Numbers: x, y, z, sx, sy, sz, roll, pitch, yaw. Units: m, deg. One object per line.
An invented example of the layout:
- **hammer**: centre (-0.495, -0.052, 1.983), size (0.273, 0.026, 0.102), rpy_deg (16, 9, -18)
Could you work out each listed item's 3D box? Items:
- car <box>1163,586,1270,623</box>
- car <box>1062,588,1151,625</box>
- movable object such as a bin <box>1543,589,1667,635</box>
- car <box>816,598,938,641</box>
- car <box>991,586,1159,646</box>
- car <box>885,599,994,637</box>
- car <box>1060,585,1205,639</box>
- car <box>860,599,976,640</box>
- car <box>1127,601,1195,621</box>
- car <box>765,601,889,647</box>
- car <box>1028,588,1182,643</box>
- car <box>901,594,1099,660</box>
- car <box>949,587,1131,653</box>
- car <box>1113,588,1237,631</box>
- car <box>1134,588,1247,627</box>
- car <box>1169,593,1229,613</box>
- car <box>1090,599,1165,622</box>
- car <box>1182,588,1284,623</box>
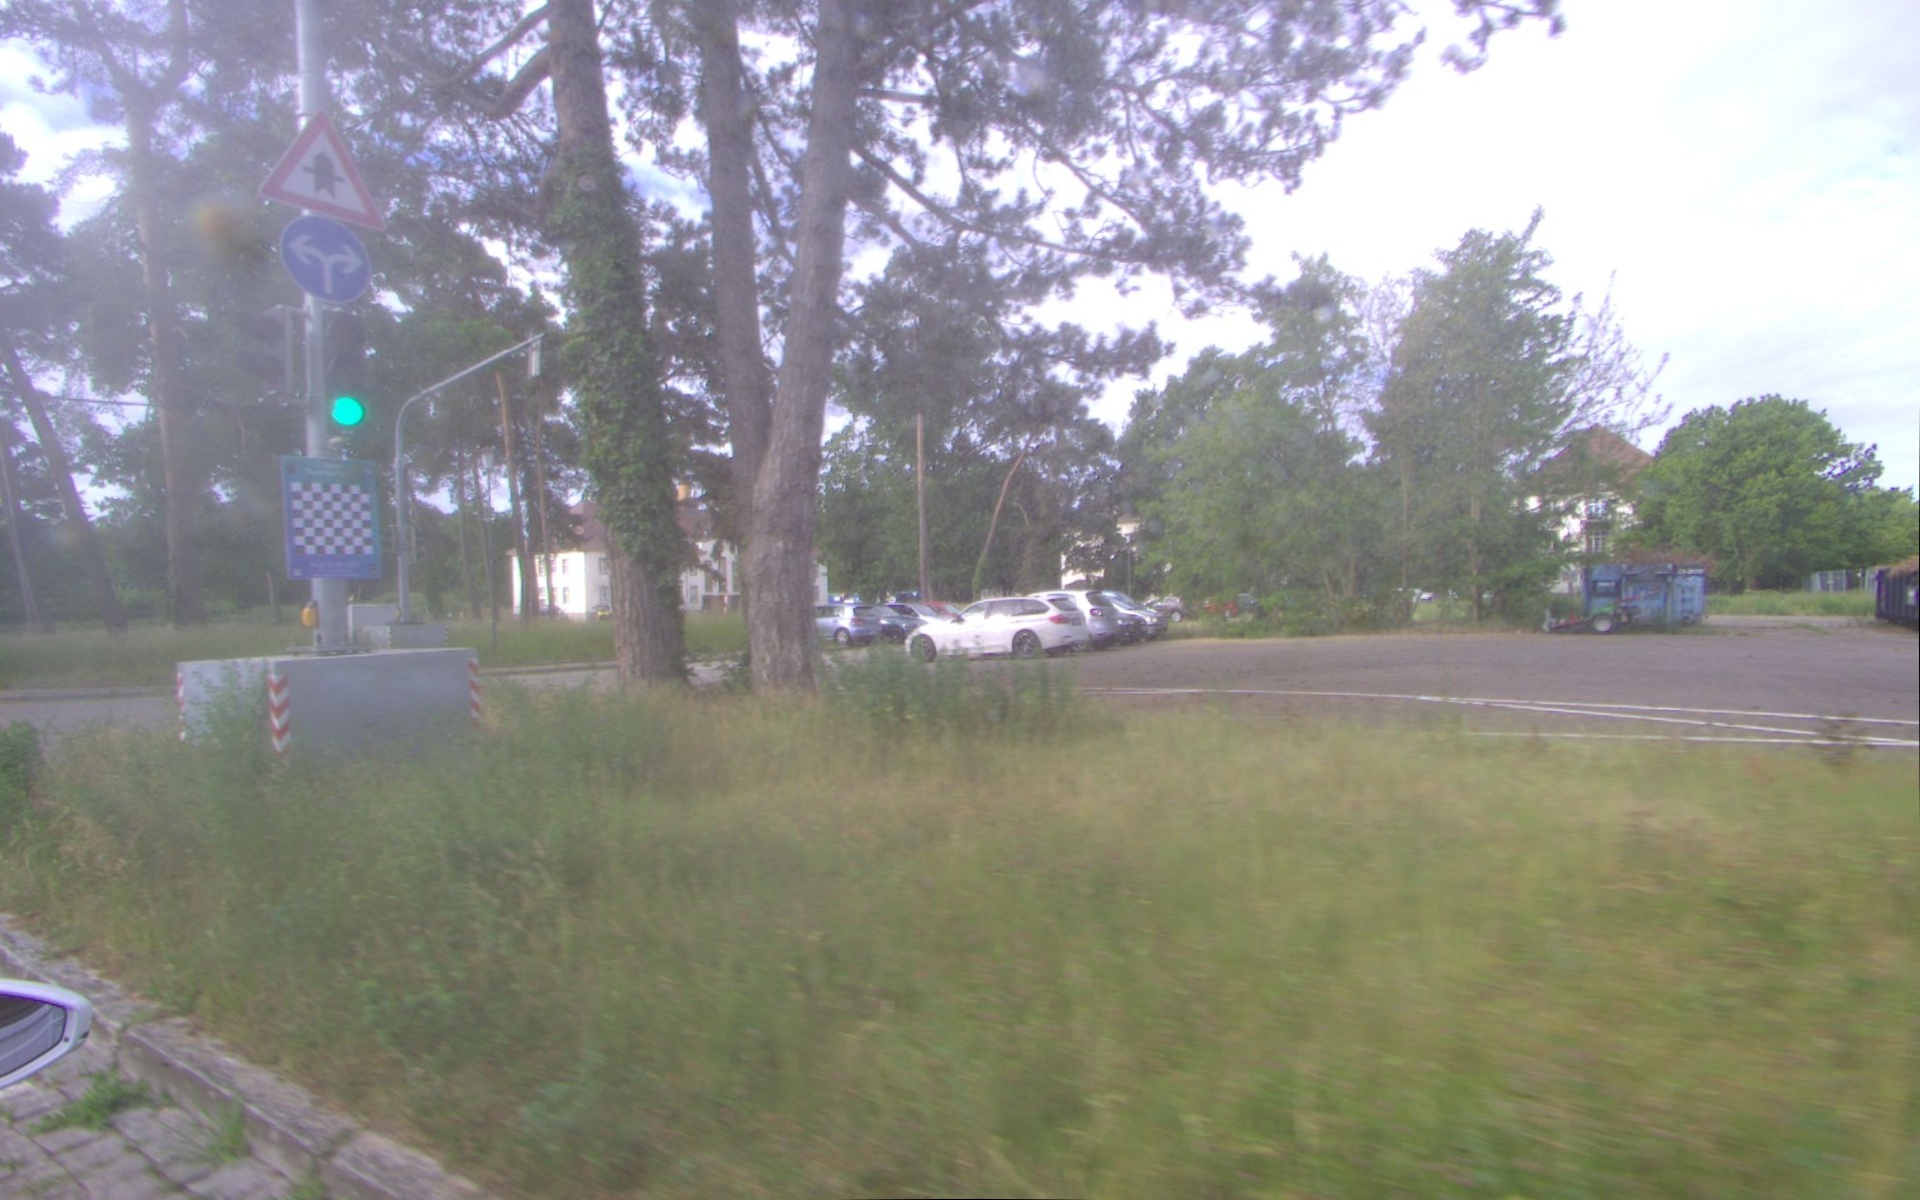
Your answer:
- **car**: centre (11.614, 0.217, 45.362), size (4.381, 1.598, 1.863), rpy_deg (-1, 1, 30)
- **car**: centre (8.134, 0.350, 55.600), size (4.587, 1.994, 1.750), rpy_deg (-1, 1, 30)
- **movable object such as a bin**: centre (15.861, 0.272, 24.722), size (2.506, 1.098, 1.059), rpy_deg (1, 1, 32)
- **car**: centre (-3.166, 0.747, 38.014), size (4.380, 1.544, 1.750), rpy_deg (-1, 1, 29)
- **car**: centre (3.267, 0.450, 28.637), size (4.381, 1.598, 1.863), rpy_deg (-1, 1, 30)
- **car**: centre (-0.881, 0.750, 42.618), size (4.381, 1.544, 1.750), rpy_deg (-1, 1, 30)
- **car**: centre (5.703, 0.392, 33.262), size (4.381, 1.709, 1.863), rpy_deg (-1, 1, 30)
- **car**: centre (-1.709, 0.784, 40.237), size (4.381, 1.544, 1.750), rpy_deg (-1, 1, 30)
- **car**: centre (12.642, 0.697, 62.960), size (3.935, 1.225, 1.657), rpy_deg (-1, 1, 25)
- **car**: centre (-4.830, 0.868, 36.193), size (4.387, 1.544, 1.747), rpy_deg (-1, 1, 34)
- **car**: centre (4.497, 0.475, 31.170), size (4.381, 1.598, 1.863), rpy_deg (-1, 1, 30)
- **car**: centre (0.916, 0.655, 23.818), size (4.381, 1.434, 1.750), rpy_deg (-2, 0, 30)
- **car**: centre (2.069, 0.501, 26.142), size (4.381, 1.598, 1.863), rpy_deg (-1, 1, 30)
- **car**: centre (8.363, 0.365, 39.045), size (4.381, 1.598, 1.863), rpy_deg (-1, 1, 30)
- **car**: centre (9.878, 0.330, 42.940), size (4.381, 1.598, 1.863), rpy_deg (-1, 1, 30)
- **car**: centre (17.249, 0.232, 72.425), size (3.938, 1.373, 1.656), rpy_deg (-1, 1, 28)
- **car**: centre (9.653, 0.599, 57.812), size (3.942, 1.225, 1.654), rpy_deg (-1, 0, 32)
- **car**: centre (13.116, 0.253, 48.150), size (4.381, 1.598, 1.863), rpy_deg (-1, 1, 30)
